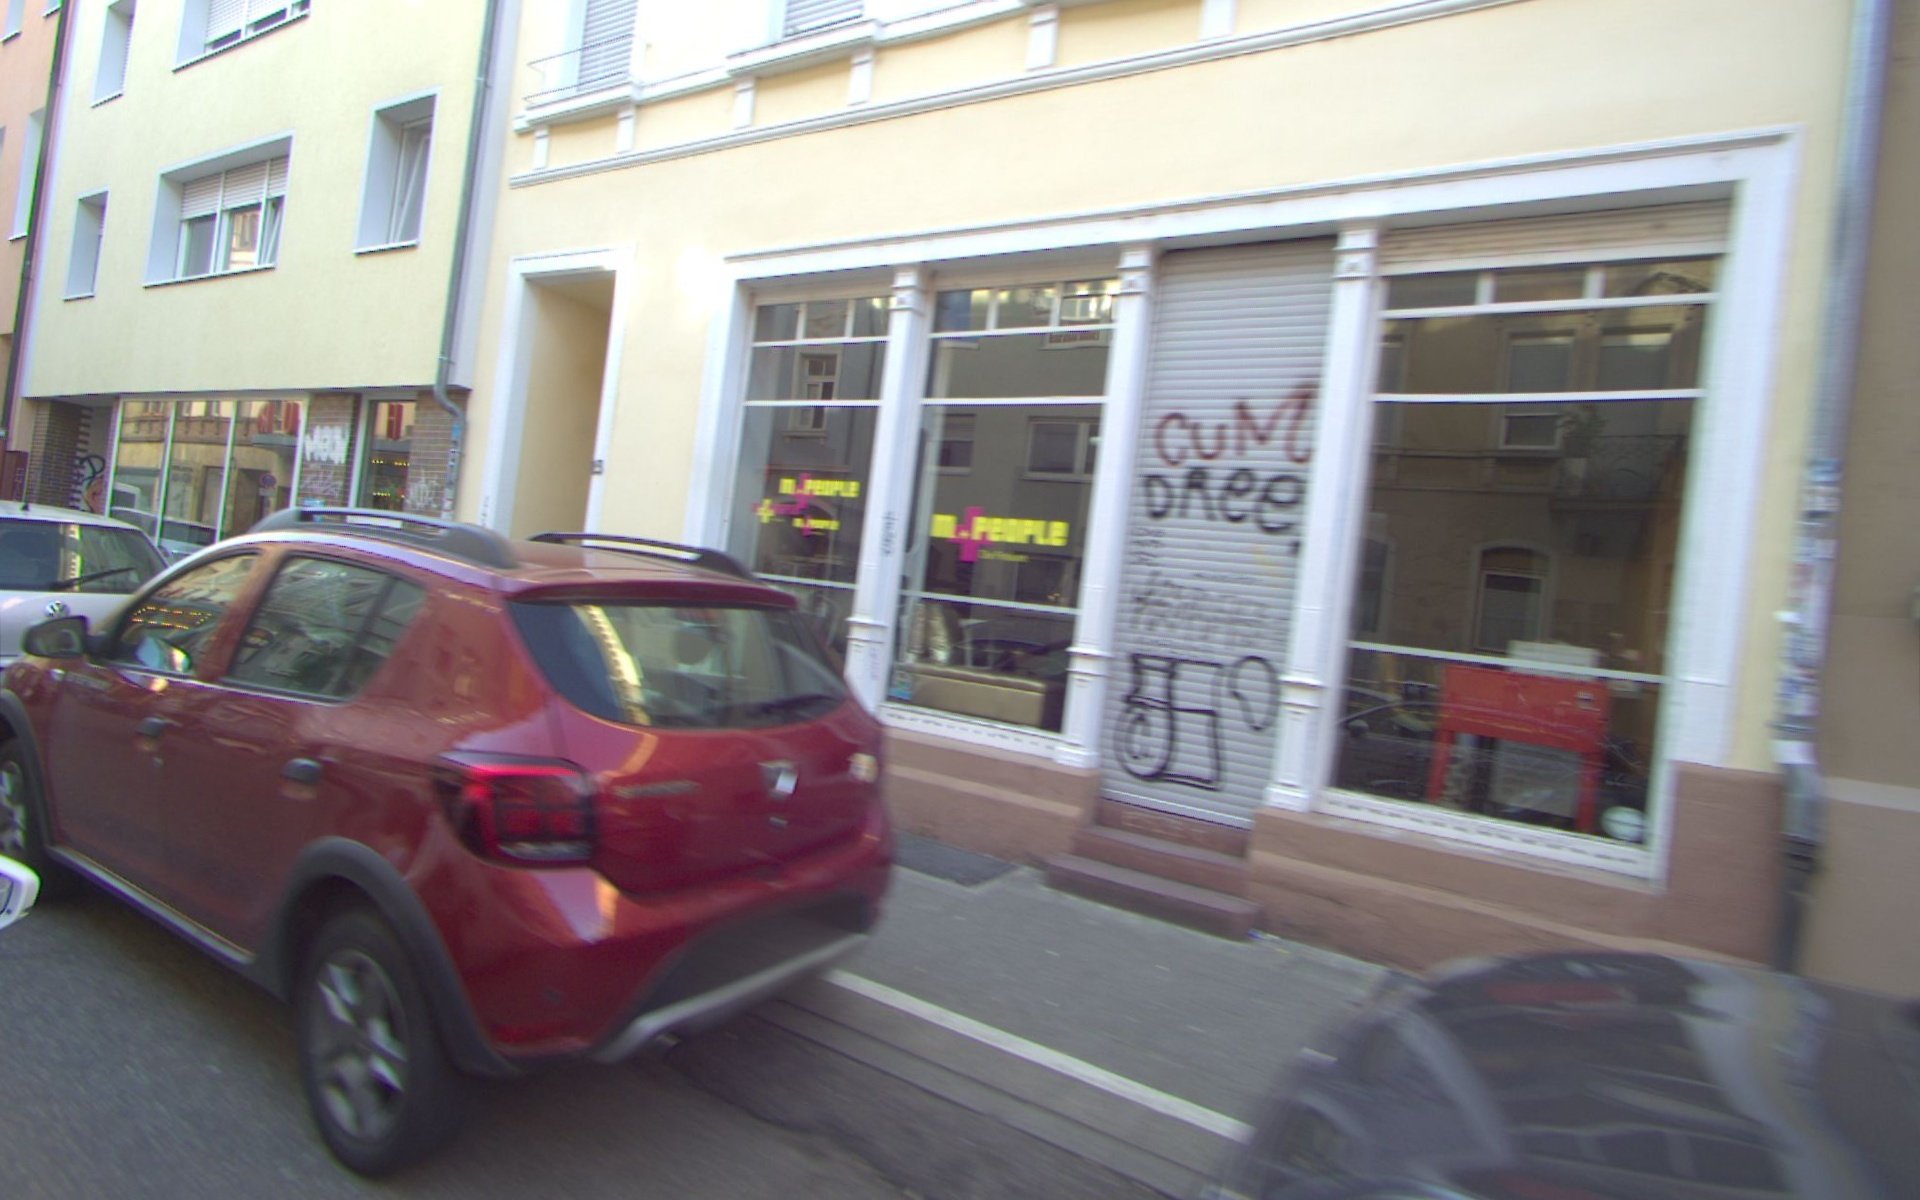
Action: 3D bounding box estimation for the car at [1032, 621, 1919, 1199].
[{"bbox_3d":[2.343,1.093,0.836,4.307,1.539,1.765,7,-2,32],"label":"car"}]

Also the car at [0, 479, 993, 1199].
[{"bbox_3d":[-2.092,0.535,3.860,3.934,1.570,1.792,7,-1,32],"label":"car"}]

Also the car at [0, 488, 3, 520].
[{"bbox_3d":[-10.421,-0.450,9.052,3.915,1.542,1.698,7,0,33],"label":"car"}]

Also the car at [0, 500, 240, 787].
[{"bbox_3d":[-6.681,0.060,6.521,4.123,1.471,1.690,7,0,31],"label":"car"}]
